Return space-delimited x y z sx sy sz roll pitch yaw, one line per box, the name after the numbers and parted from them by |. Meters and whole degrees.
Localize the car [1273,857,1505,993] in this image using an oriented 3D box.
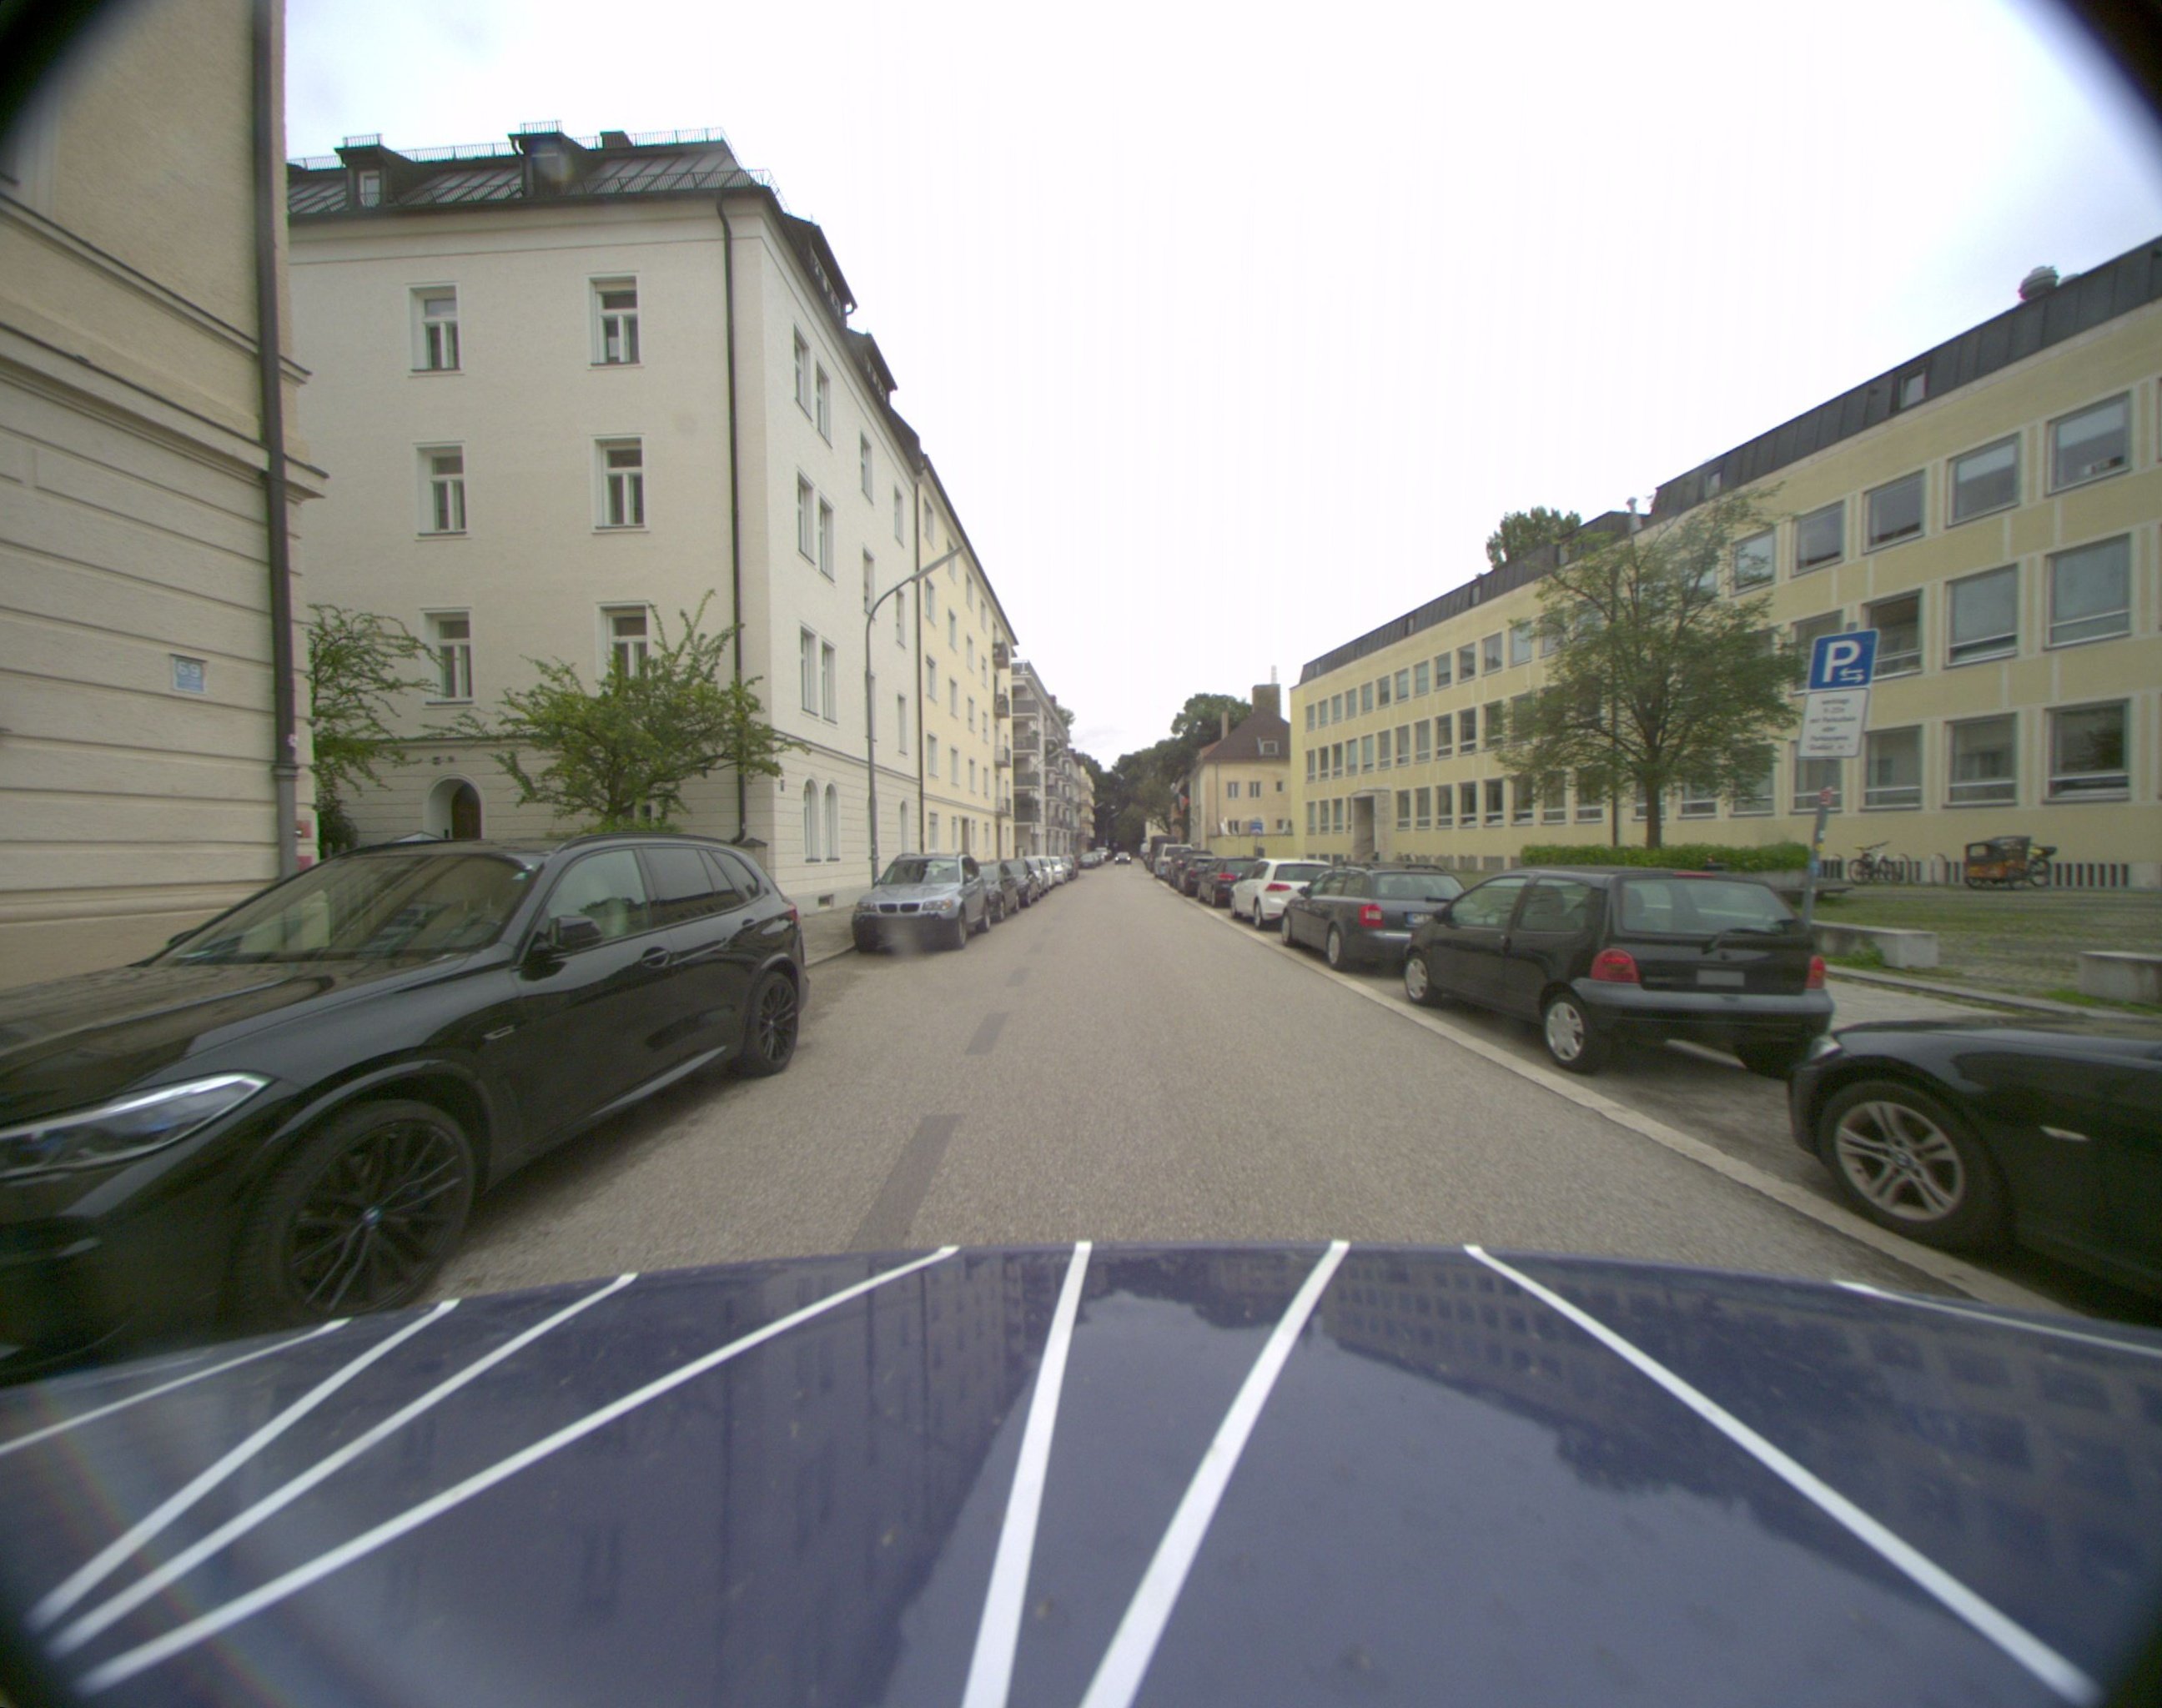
4.095 0.831 10.909 1.635 1.486 4.275 1 1 1 | car

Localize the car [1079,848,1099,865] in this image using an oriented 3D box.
0.780 0.226 72.723 1.775 1.467 4.217 -1 0 1 | car

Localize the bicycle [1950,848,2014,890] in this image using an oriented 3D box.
22.138 0.355 18.665 1.610 0.939 0.502 -3 1 -21 | bicycle

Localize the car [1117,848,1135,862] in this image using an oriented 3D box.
5.186 0.097 87.397 1.998 1.521 4.001 -2 0 3 | car

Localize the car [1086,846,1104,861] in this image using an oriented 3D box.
1.569 -0.040 83.352 1.795 1.473 4.603 -2 1 2 | car

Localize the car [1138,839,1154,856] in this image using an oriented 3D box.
9.423 -0.968 110.665 2.116 2.462 5.232 0 1 3 | car

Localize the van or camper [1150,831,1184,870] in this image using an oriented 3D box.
6.273 -0.281 55.795 2.297 2.636 5.562 1 1 5 | van or camper

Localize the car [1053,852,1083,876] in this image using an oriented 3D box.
-0.819 0.630 49.990 1.658 1.421 3.756 -2 0 2 | car

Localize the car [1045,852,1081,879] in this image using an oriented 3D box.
-1.029 0.650 45.015 1.777 1.421 4.615 -2 0 2 | car

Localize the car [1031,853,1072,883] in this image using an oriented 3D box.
-1.465 0.684 39.201 1.729 1.421 4.294 -2 0 2 | car

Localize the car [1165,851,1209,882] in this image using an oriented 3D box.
5.244 0.574 37.917 1.808 1.398 3.709 1 1 3 | car

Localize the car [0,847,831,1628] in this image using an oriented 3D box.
-3.380 0.864 4.005 2.175 1.729 5.024 -2 0 3 | car

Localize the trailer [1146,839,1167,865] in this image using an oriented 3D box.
7.771 -0.252 78.176 1.980 2.457 4.578 2 1 7 | trailer

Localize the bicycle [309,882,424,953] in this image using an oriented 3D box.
-11.360 0.991 12.102 1.174 1.055 0.736 -1 1 9 | bicycle

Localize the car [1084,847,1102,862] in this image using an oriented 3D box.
1.260 0.068 78.380 1.620 1.458 3.747 -2 0 4 | car

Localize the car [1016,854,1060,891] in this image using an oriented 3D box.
-1.899 0.785 34.379 1.655 1.535 3.993 -2 0 1 | car

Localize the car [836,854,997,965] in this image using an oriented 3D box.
-2.830 0.874 14.164 1.851 1.654 4.498 -1 1 2 | car

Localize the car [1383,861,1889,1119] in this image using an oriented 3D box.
4.139 0.862 6.493 1.635 1.486 3.603 1 1 0 | car

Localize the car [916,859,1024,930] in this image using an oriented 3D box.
-2.612 0.918 18.862 1.832 1.441 4.084 -2 0 3 | car

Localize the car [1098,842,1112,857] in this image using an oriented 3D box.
3.502 -0.657 110.074 1.858 2.019 4.784 -2 0 4 | car

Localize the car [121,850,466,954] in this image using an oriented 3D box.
-13.624 0.719 13.581 1.862 1.449 3.999 -2 2 2 | car

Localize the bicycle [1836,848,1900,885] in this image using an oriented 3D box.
21.771 0.328 21.016 1.610 0.939 0.502 -3 1 -15 | bicycle

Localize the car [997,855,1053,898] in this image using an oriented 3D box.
-2.085 0.805 29.351 1.728 1.441 4.187 -2 0 1 | car

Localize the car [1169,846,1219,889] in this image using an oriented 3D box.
4.791 0.513 32.599 1.718 1.680 4.141 1 1 3 | car

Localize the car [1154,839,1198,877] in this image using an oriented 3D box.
5.305 0.201 42.903 1.919 1.948 4.961 1 0 1 | car

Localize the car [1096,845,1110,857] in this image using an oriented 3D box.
2.775 -0.401 95.164 1.668 1.459 4.375 -1 2 1 | car

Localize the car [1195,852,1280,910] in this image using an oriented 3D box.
4.500 0.713 22.441 1.635 1.486 4.100 1 1 0 | car

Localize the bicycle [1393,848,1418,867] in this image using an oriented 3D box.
17.899 0.191 41.924 1.413 0.939 0.413 -3 1 -25 | bicycle

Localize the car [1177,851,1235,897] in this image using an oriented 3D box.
4.448 0.663 27.479 1.634 1.486 3.820 0 1 3 | car

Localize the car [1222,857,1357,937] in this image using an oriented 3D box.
4.368 0.820 16.581 1.745 1.414 4.294 2 1 0 | car

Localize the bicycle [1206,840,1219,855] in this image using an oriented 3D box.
11.142 -0.530 64.437 0.804 1.226 1.868 0 2 3 | bicycle

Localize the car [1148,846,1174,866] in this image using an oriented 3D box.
6.374 0.149 61.062 1.657 1.488 3.908 1 1 0 | car

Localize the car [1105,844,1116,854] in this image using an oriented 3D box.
4.978 -0.886 127.004 1.771 1.607 4.263 -1 1 3 | car

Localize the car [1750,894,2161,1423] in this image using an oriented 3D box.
4.070 0.948 1.302 1.779 1.457 4.465 1 1 -2 | car

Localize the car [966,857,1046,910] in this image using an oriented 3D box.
-2.286 0.869 24.357 1.880 1.441 4.678 -2 0 2 | car
